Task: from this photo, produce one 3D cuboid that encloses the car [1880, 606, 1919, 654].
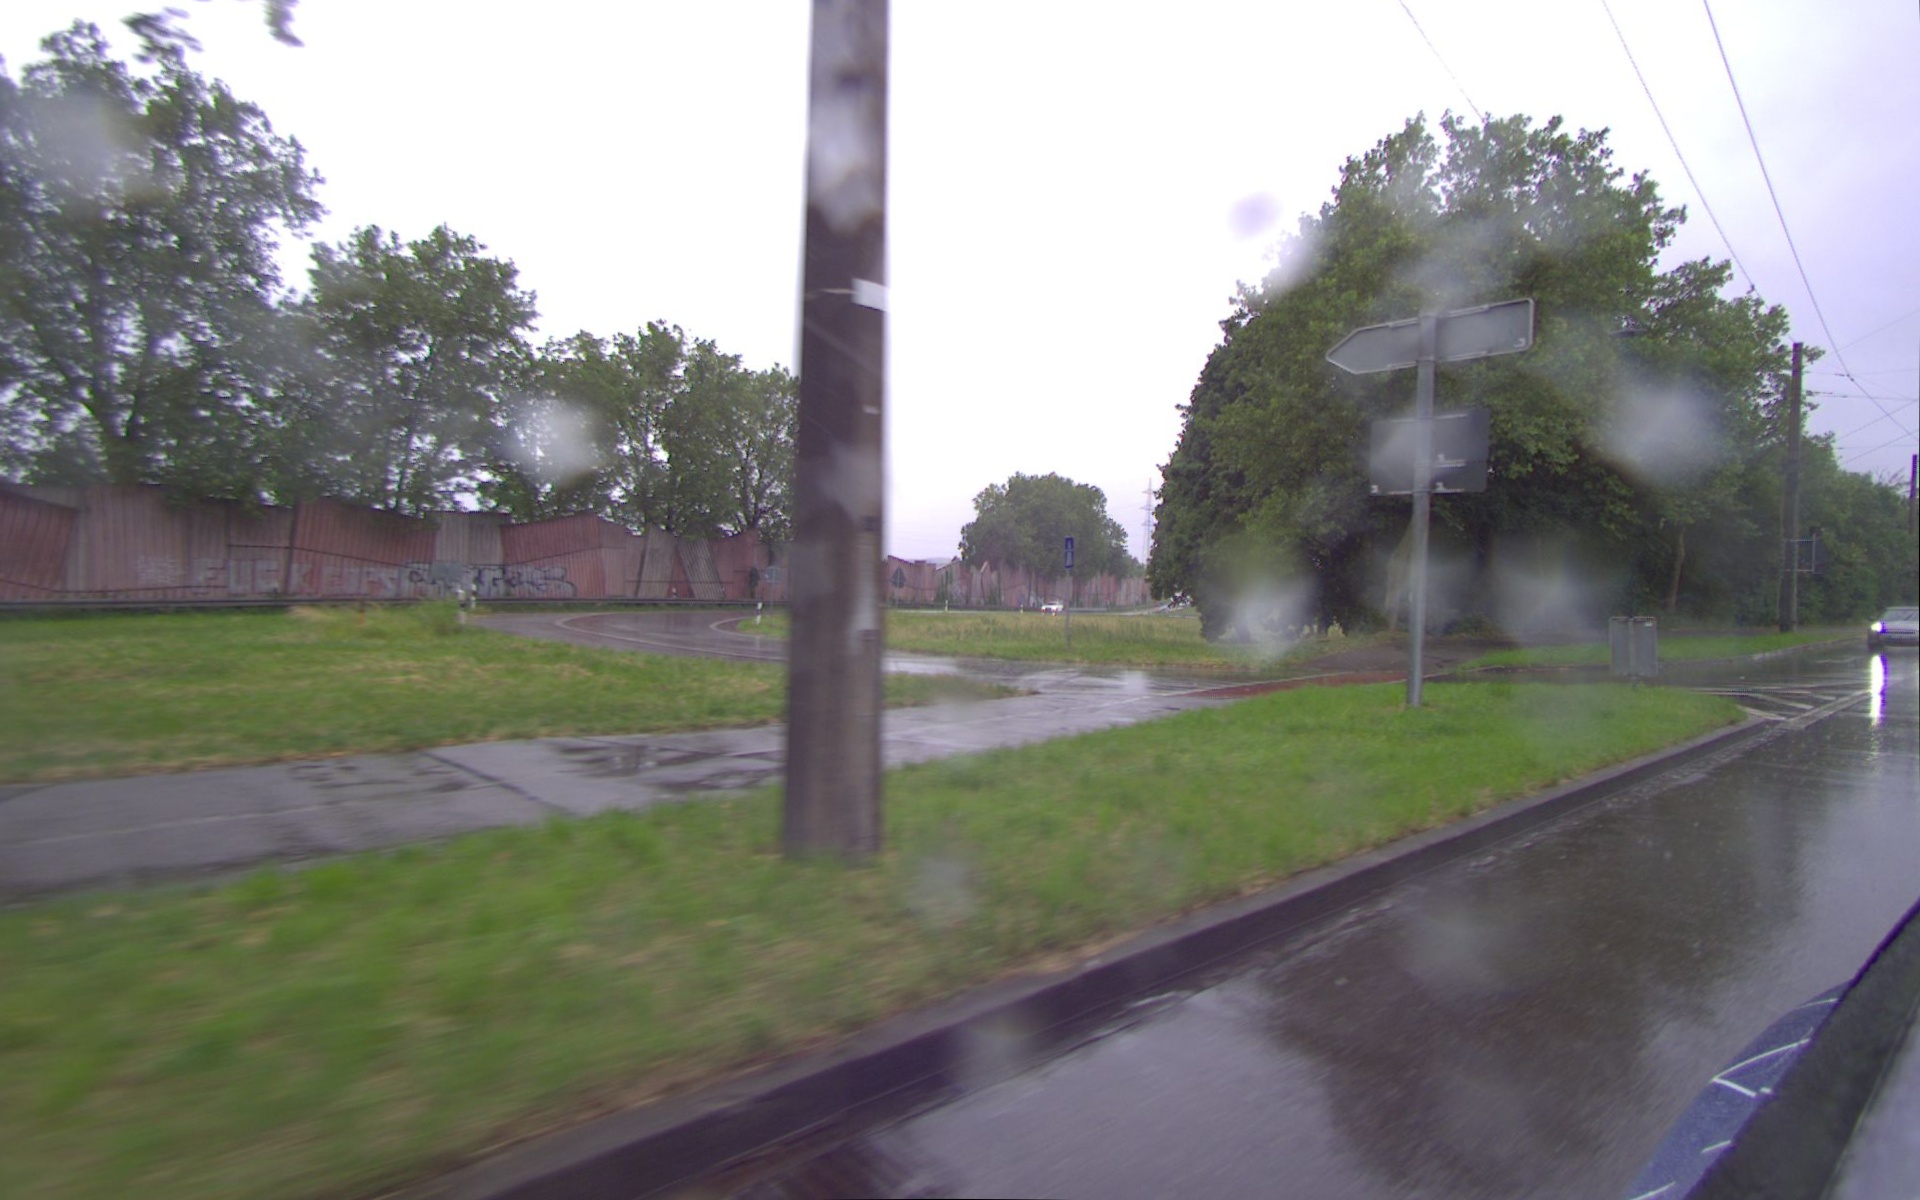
[{"bbox_3d":[32.297,0.997,33.929,3.932,1.437,1.749,0,3,-42],"label":"car"}]
